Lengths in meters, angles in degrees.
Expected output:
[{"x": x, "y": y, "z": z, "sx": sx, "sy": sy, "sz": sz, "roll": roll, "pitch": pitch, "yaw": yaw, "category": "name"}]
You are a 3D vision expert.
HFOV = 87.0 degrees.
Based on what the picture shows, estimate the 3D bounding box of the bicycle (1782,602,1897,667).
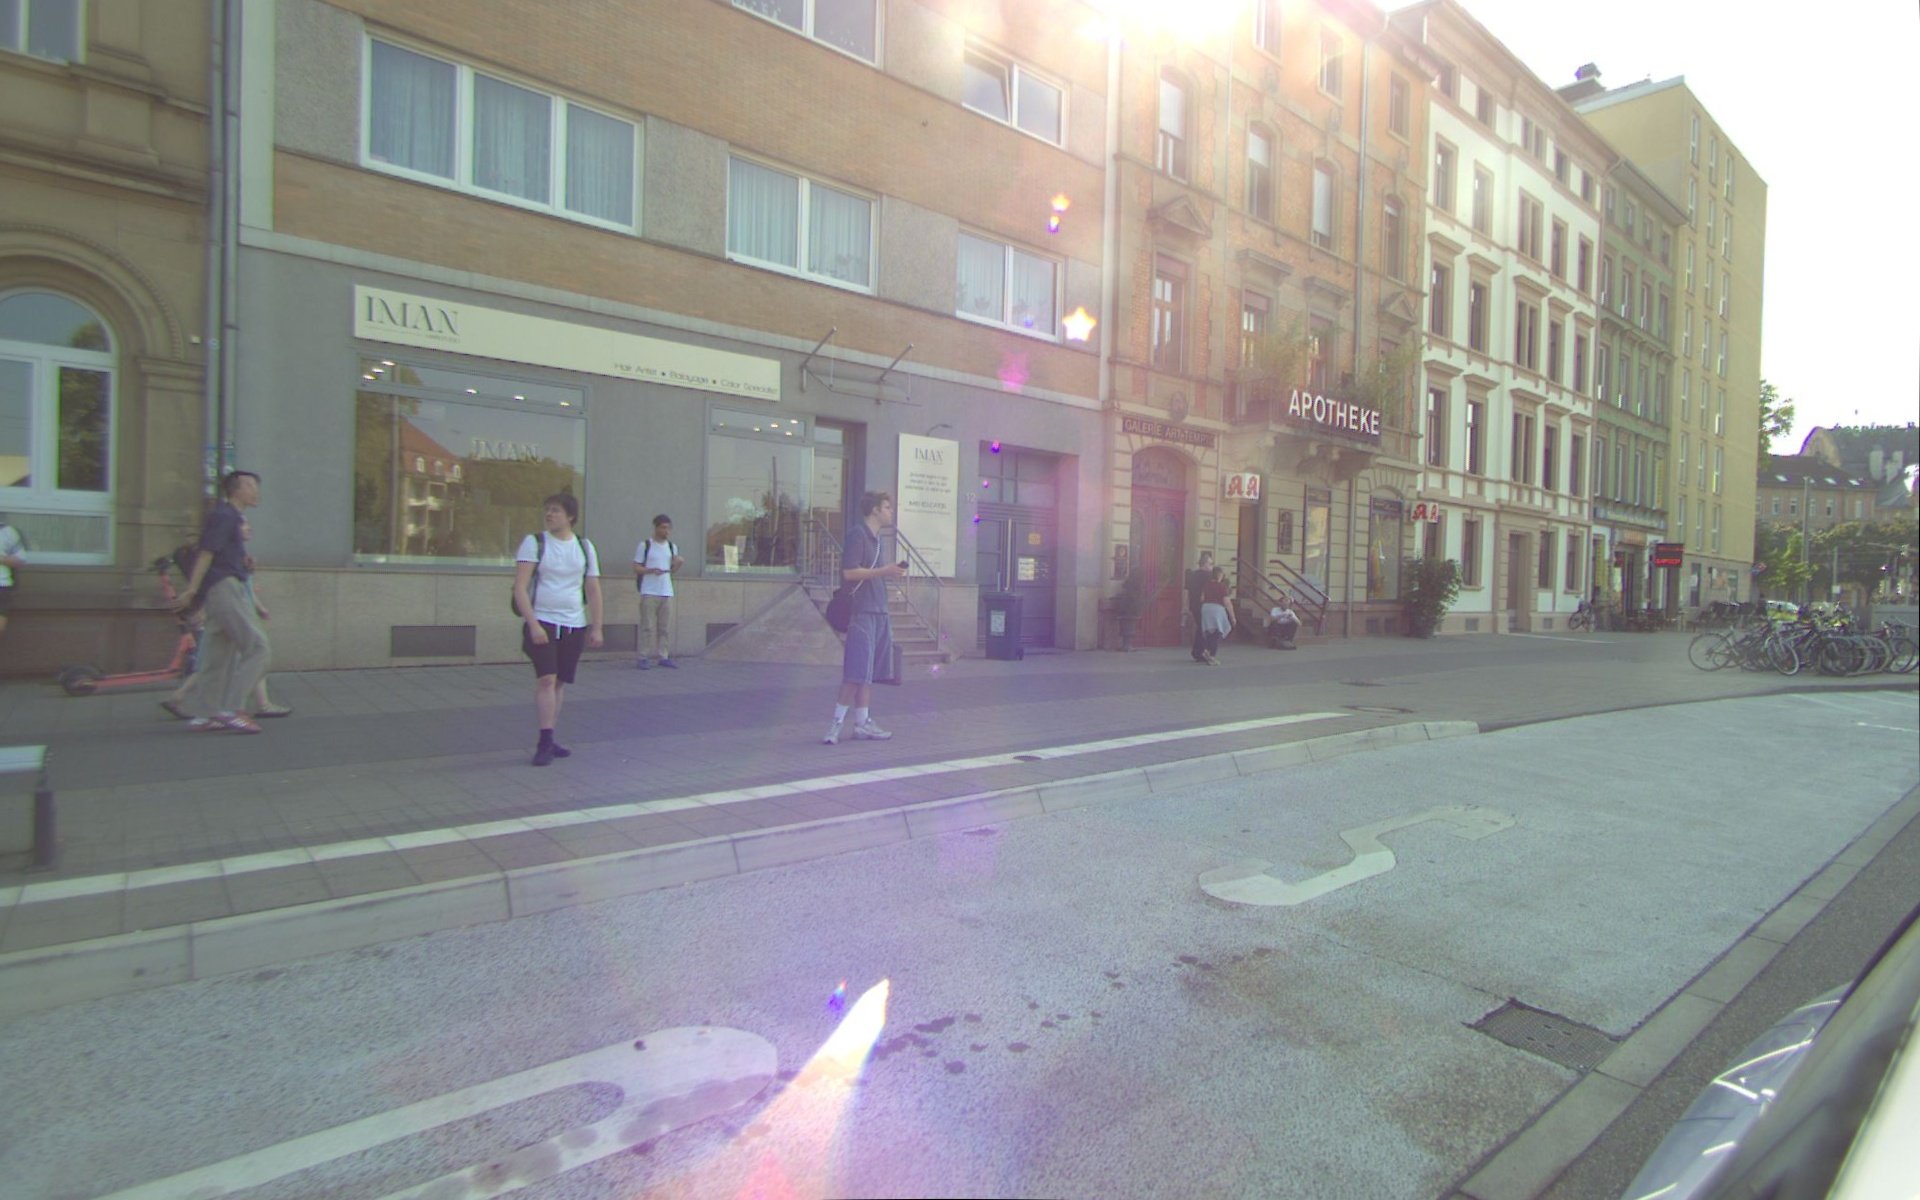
[{"x": 17.108, "y": 0.649, "z": 19.718, "sx": 0.379, "sy": 1.163, "sz": 1.634, "roll": 0, "pitch": 2, "yaw": -44, "category": "bicycle"}]

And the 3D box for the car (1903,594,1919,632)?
[{"x": 39.133, "y": 0.551, "z": 39.192, "sx": 3.470, "sy": 1.482, "sz": 1.619, "roll": 1, "pitch": 1, "yaw": 9, "category": "car"}]

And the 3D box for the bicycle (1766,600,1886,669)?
[{"x": 16.042, "y": 0.610, "z": 18.782, "sx": 0.379, "sy": 1.163, "sz": 1.634, "roll": 0, "pitch": 2, "yaw": -44, "category": "bicycle"}]

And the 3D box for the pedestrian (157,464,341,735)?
[{"x": -5.188, "y": -0.012, "z": 7.393, "sx": 1.052, "sy": 1.826, "sz": 0.618, "roll": 0, "pitch": 1, "yaw": -39, "category": "pedestrian"}]

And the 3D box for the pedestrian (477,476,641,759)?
[{"x": -2.705, "y": 0.096, "z": 6.818, "sx": 0.787, "sy": 1.750, "sz": 0.750, "roll": 1, "pitch": 1, "yaw": -43, "category": "pedestrian"}]

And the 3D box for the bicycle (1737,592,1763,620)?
[{"x": 37.595, "y": 0.296, "z": 48.146, "sx": 1.816, "sy": 1.277, "sz": 0.603, "roll": 0, "pitch": 1, "yaw": -41, "category": "bicycle"}]

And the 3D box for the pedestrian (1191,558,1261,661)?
[{"x": 4.369, "y": 0.145, "z": 16.631, "sx": 0.840, "sy": 1.630, "sz": 0.722, "roll": 0, "pitch": 1, "yaw": -39, "category": "pedestrian"}]

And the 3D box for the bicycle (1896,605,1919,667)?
[{"x": 18.826, "y": 0.688, "z": 20.000, "sx": 0.407, "sy": 1.163, "sz": 1.630, "roll": 2, "pitch": 2, "yaw": 44, "category": "bicycle"}]

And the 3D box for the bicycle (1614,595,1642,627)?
[{"x": 24.881, "y": 0.390, "z": 37.690, "sx": 1.689, "sy": 1.148, "sz": 0.384, "roll": 0, "pitch": 1, "yaw": -40, "category": "bicycle"}]

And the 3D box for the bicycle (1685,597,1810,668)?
[{"x": 14.073, "y": 0.552, "z": 18.123, "sx": 0.590, "sy": 1.163, "sz": 1.637, "roll": 0, "pitch": 2, "yaw": -37, "category": "bicycle"}]

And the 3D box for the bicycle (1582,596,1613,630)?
[{"x": 22.324, "y": 0.460, "z": 35.406, "sx": 1.689, "sy": 1.148, "sz": 0.384, "roll": 0, "pitch": 1, "yaw": -40, "category": "bicycle"}]

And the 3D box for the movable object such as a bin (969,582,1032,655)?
[{"x": 0.634, "y": 0.281, "z": 15.896, "sx": 0.734, "sy": 1.094, "sz": 0.662, "roll": 2, "pitch": 1, "yaw": 34, "category": "movable object such as a bin"}]

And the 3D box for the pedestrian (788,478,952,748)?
[{"x": -0.680, "y": 0.075, "z": 7.570, "sx": 0.787, "sy": 1.854, "sz": 0.926, "roll": 1, "pitch": 1, "yaw": -43, "category": "pedestrian"}]

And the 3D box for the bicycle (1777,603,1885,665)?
[{"x": 17.888, "y": 0.673, "z": 20.815, "sx": 0.379, "sy": 1.163, "sz": 1.634, "roll": 0, "pitch": 2, "yaw": -44, "category": "bicycle"}]

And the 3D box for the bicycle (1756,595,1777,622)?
[{"x": 40.082, "y": 0.412, "z": 50.289, "sx": 1.608, "sy": 1.277, "sz": 0.469, "roll": 0, "pitch": 1, "yaw": -41, "category": "bicycle"}]

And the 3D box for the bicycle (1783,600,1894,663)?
[{"x": 17.639, "y": 0.613, "z": 20.357, "sx": 0.379, "sy": 1.163, "sz": 1.634, "roll": 0, "pitch": 2, "yaw": -44, "category": "bicycle"}]

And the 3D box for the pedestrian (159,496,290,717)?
[{"x": -5.761, "y": 0.041, "z": 7.929, "sx": 0.798, "sy": 1.630, "sz": 0.487, "roll": 0, "pitch": 1, "yaw": -39, "category": "pedestrian"}]

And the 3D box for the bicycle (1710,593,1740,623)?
[{"x": 33.901, "y": 0.363, "z": 44.835, "sx": 1.962, "sy": 1.277, "sz": 0.604, "roll": 0, "pitch": 1, "yaw": -40, "category": "bicycle"}]

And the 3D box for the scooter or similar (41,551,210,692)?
[{"x": -7.372, "y": 0.177, "z": 8.967, "sx": 1.133, "sy": 1.177, "sz": 0.360, "roll": 0, "pitch": 1, "yaw": -43, "category": "scooter or similar"}]

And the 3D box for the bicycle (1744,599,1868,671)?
[{"x": 14.993, "y": 0.589, "z": 17.971, "sx": 0.379, "sy": 1.163, "sz": 1.634, "roll": 0, "pitch": 2, "yaw": -44, "category": "bicycle"}]

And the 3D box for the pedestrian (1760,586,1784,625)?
[{"x": 34.818, "y": 0.218, "z": 43.396, "sx": 0.724, "sy": 1.649, "sz": 0.610, "roll": 1, "pitch": 1, "yaw": -39, "category": "pedestrian"}]

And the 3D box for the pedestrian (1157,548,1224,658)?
[{"x": 3.934, "y": 0.036, "z": 17.261, "sx": 0.840, "sy": 1.809, "sz": 0.722, "roll": 0, "pitch": 1, "yaw": -39, "category": "pedestrian"}]

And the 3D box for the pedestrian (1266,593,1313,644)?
[{"x": 6.597, "y": 0.369, "z": 20.292, "sx": 0.623, "sy": 0.994, "sz": 0.615, "roll": 1, "pitch": 1, "yaw": -20, "category": "pedestrian"}]

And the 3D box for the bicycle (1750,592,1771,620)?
[{"x": 36.702, "y": 0.266, "z": 46.380, "sx": 0.602, "sy": 1.277, "sz": 1.967, "roll": 2, "pitch": 2, "yaw": 42, "category": "bicycle"}]

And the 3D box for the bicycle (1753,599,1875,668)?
[{"x": 15.549, "y": 0.585, "z": 18.460, "sx": 0.379, "sy": 1.163, "sz": 1.634, "roll": 0, "pitch": 2, "yaw": -44, "category": "bicycle"}]

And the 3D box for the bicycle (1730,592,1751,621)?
[{"x": 35.906, "y": 0.289, "z": 46.569, "sx": 0.602, "sy": 1.277, "sz": 1.967, "roll": 2, "pitch": 2, "yaw": 42, "category": "bicycle"}]

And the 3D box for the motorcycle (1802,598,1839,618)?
[{"x": 50.228, "y": 0.473, "z": 59.065, "sx": 2.253, "sy": 1.161, "sz": 0.707, "roll": 1, "pitch": 1, "yaw": -24, "category": "motorcycle"}]

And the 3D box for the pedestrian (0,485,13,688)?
[{"x": -8.645, "y": -0.127, "z": 8.851, "sx": 0.502, "sy": 1.753, "sz": 0.604, "roll": 1, "pitch": 1, "yaw": -43, "category": "pedestrian"}]

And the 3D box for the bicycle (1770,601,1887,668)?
[{"x": 16.538, "y": 0.627, "z": 19.295, "sx": 0.379, "sy": 1.163, "sz": 1.634, "roll": 0, "pitch": 2, "yaw": -44, "category": "bicycle"}]

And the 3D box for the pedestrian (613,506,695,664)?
[{"x": -3.718, "y": -0.186, "z": 12.298, "sx": 0.730, "sy": 1.854, "sz": 0.604, "roll": 1, "pitch": 1, "yaw": -43, "category": "pedestrian"}]
